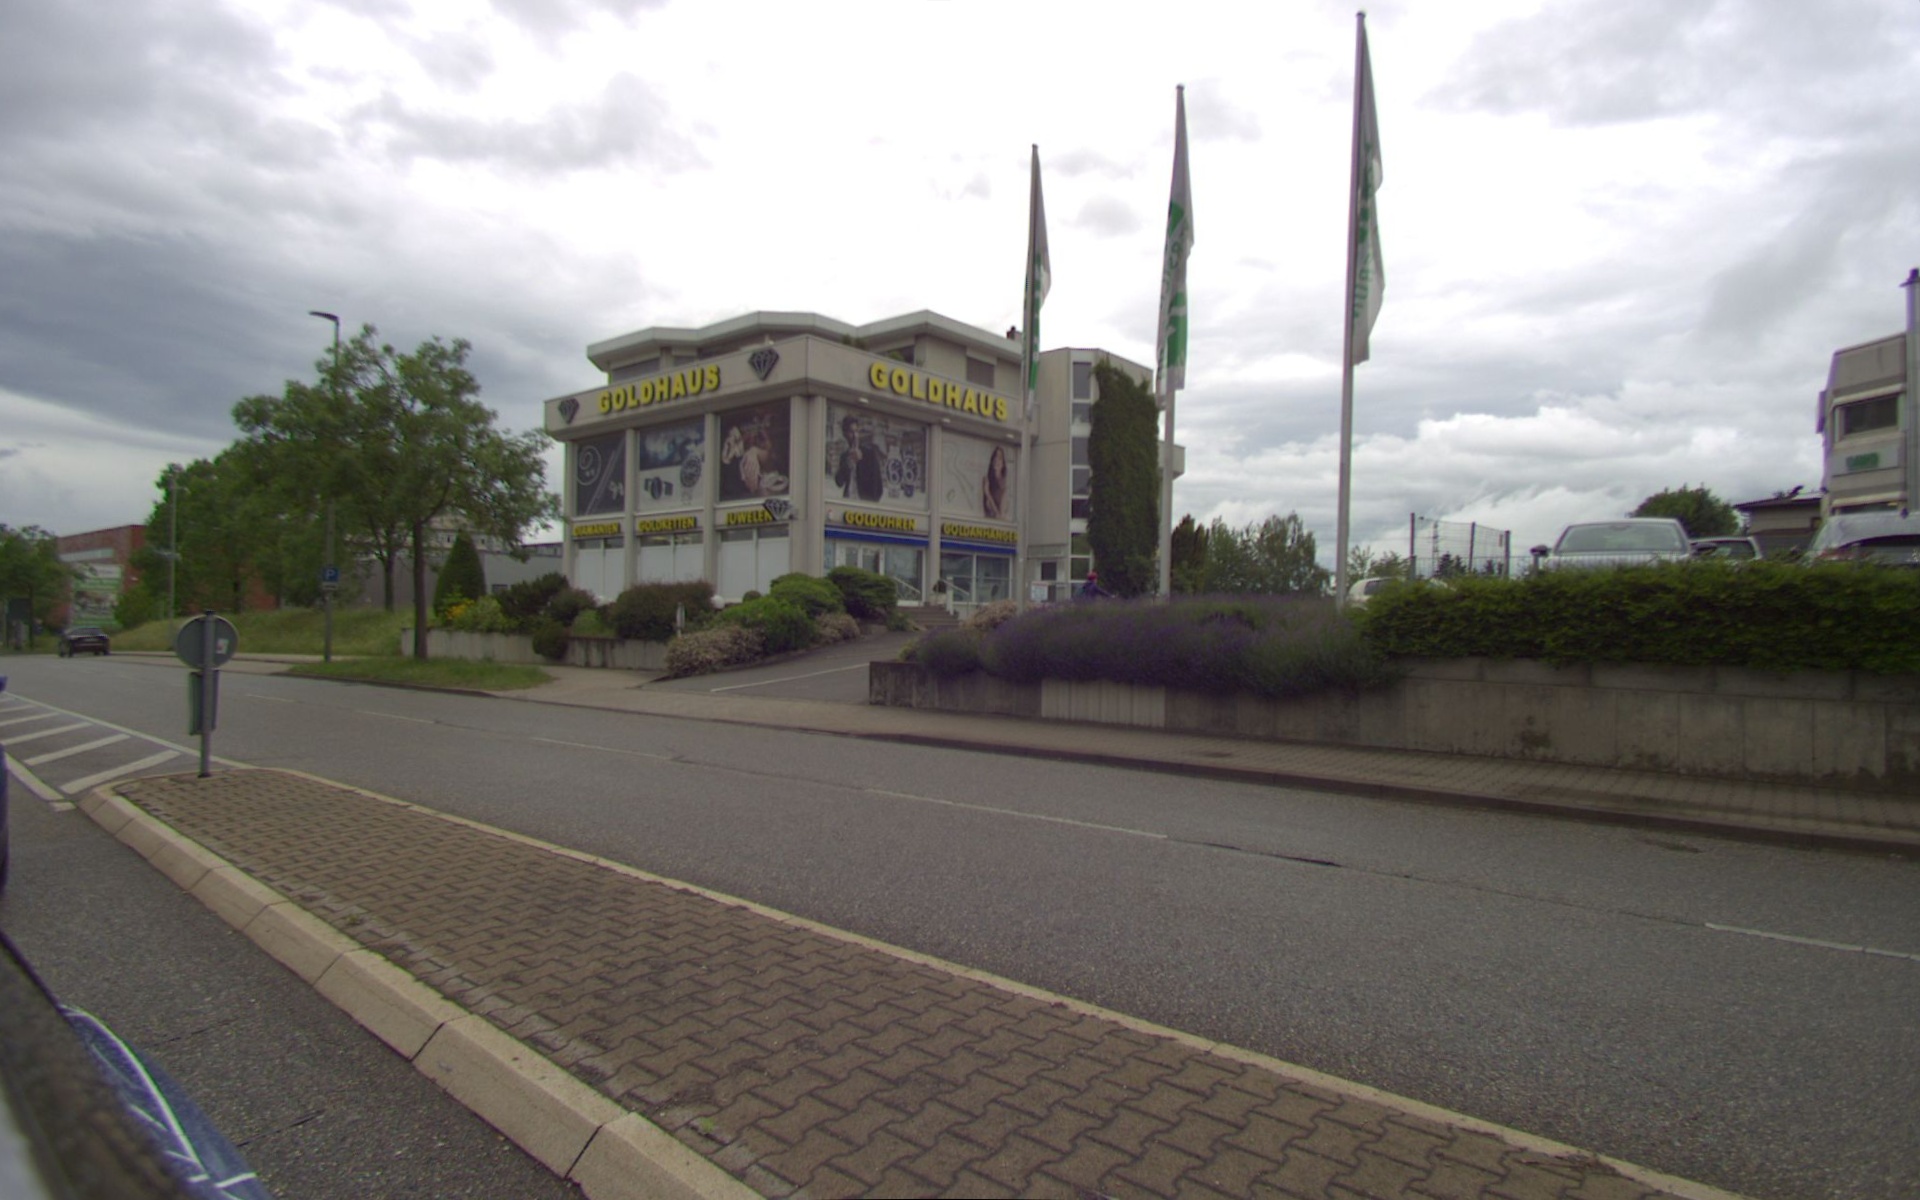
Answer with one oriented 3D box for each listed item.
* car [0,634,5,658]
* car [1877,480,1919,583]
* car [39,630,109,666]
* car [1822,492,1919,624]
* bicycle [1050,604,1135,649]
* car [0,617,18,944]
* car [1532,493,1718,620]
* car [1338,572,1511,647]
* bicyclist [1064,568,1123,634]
[{"bbox_3d":[-68.808,3.266,71.169,3.998,1.608,1.973,-4,-4,41],"label":"car"},{"bbox_3d":[16.308,-1.094,16.728,1.452,1.484,3.353,-1,-2,38],"label":"car"},{"bbox_3d":[-48.672,2.650,55.584,4.542,1.905,2.320,-4,-4,41],"label":"car"},{"bbox_3d":[10.507,-0.379,11.100,1.452,1.287,3.353,-1,-2,38],"label":"car"},{"bbox_3d":[3.164,0.604,23.951,0.909,0.820,2.264,-1,4,39],"label":"bicycle"},{"bbox_3d":[-6.600,0.825,5.389,4.593,1.467,1.762,0,0,40],"label":"car"},{"bbox_3d":[8.310,-0.431,12.539,1.454,1.347,3.350,-1,-2,42],"label":"car"},{"bbox_3d":[10.795,0.244,23.607,3.384,1.608,1.511,-1,-2,41],"label":"car"},{"bbox_3d":[3.159,0.016,23.962,0.909,1.453,1.014,-1,4,40],"label":"bicyclist"}]
